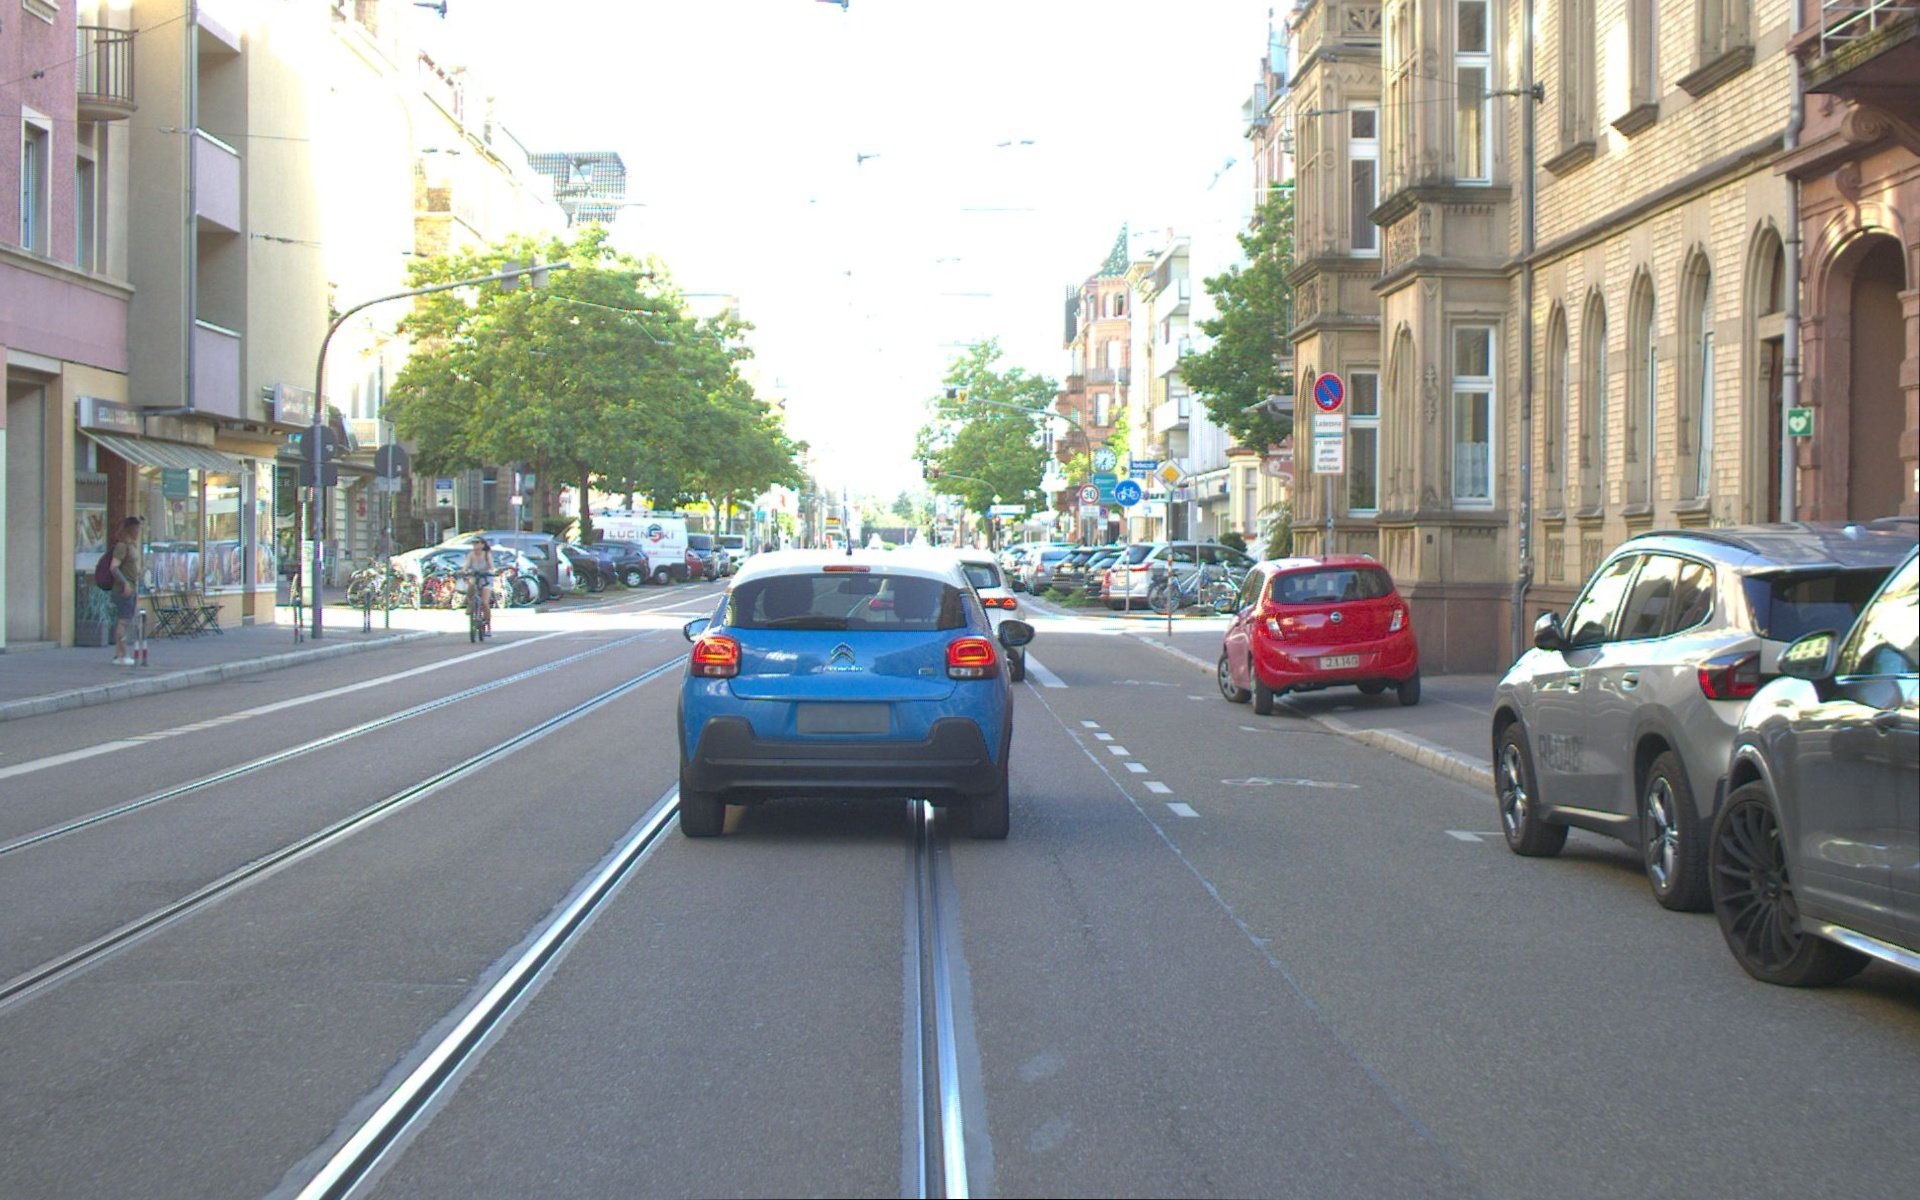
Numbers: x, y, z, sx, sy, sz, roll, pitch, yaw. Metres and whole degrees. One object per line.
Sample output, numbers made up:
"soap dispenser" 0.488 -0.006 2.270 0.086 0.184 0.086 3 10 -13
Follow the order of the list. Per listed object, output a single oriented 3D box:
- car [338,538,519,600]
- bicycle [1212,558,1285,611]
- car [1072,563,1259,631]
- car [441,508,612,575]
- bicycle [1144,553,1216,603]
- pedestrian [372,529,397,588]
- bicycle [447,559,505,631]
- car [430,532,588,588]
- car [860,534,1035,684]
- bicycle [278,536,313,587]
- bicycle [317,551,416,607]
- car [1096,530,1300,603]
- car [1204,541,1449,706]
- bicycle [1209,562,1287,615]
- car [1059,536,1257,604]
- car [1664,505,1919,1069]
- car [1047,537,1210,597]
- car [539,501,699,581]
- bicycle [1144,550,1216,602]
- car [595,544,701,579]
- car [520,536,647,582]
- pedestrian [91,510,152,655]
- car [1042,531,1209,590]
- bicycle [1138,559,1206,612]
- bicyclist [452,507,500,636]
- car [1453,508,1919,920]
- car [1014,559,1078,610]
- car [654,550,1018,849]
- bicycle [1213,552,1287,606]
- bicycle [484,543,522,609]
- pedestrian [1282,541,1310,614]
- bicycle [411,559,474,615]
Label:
"car" -12.494 -0.728 80.868 3.779 1.395 1.755 1 1 -33
"bicycle" 6.277 -0.339 74.722 1.556 1.123 0.528 1 0 6
"car" 4.897 -0.072 82.044 3.986 1.531 1.919 1 1 -25
"car" -12.246 -1.646 97.190 4.352 1.777 1.996 1 1 -33
"bicycle" 4.877 -0.482 76.244 1.556 1.075 0.307 1 0 6
"pedestrian" -16.309 -1.168 97.388 0.569 1.647 0.641 1 0 0
"bicycle" -7.585 -0.087 53.912 0.602 1.092 2.044 -2 1 0
"car" -12.117 -1.084 92.355 3.831 1.425 1.766 1 1 -26
"car" -0.149 0.075 39.346 1.873 1.590 4.000 1 1 0
"bicycle" -14.524 -0.837 75.095 0.403 1.106 1.838 0 1 -22
"bicycle" -12.890 -0.468 74.629 2.433 1.105 0.682 4 4 40
"car" 5.526 -0.772 79.863 4.350 1.590 1.854 1 1 -25
"car" 3.604 0.196 34.550 1.865 1.477 4.401 -2 1 -1
"bicycle" 6.316 -0.255 75.335 1.675 1.123 0.551 1 0 6
"car" 4.942 -0.738 85.613 4.433 1.590 2.089 1 1 -25
"car" 3.693 0.485 10.416 1.993 1.610 4.786 -3 1 -1
"car" 4.692 -0.923 95.539 3.986 1.590 2.088 1 1 -25
"car" -12.212 -2.117 123.198 5.370 2.739 1.806 1 1 -30
"bicycle" 4.908 -0.534 76.585 1.560 1.123 0.294 1 0 6
"car" -12.153 -1.492 133.741 3.796 1.261 1.516 1 1 -26
"car" -12.823 -1.396 117.065 3.986 1.484 1.807 1 1 -17
"pedestrian" -9.874 -0.206 40.492 0.563 1.680 0.616 1 0 -2
"car" 4.729 -1.133 98.269 4.302 1.590 1.983 1 1 -25
"bicycle" 4.583 -0.311 74.380 1.397 1.123 0.551 1 0 -3
"bicyclist" -7.607 -0.447 54.086 0.612 2.007 0.734 1 0 0
"car" 3.736 0.444 16.071 1.865 1.641 4.402 1 1 -5
"car" 2.749 -0.510 110.572 1.873 1.590 4.719 1 1 0
"car" -0.639 0.470 18.688 1.762 1.436 3.557 1 1 -1
"bicycle" 6.256 -0.453 74.133 1.556 1.123 0.551 1 0 6
"bicycle" -9.963 -0.535 75.053 0.681 1.315 2.436 1 3 -5
"pedestrian" 7.663 -0.521 78.445 0.518 1.643 0.864 1 0 0
"bicycle" -11.336 -0.288 75.249 0.681 1.119 1.888 -1 3 -31
